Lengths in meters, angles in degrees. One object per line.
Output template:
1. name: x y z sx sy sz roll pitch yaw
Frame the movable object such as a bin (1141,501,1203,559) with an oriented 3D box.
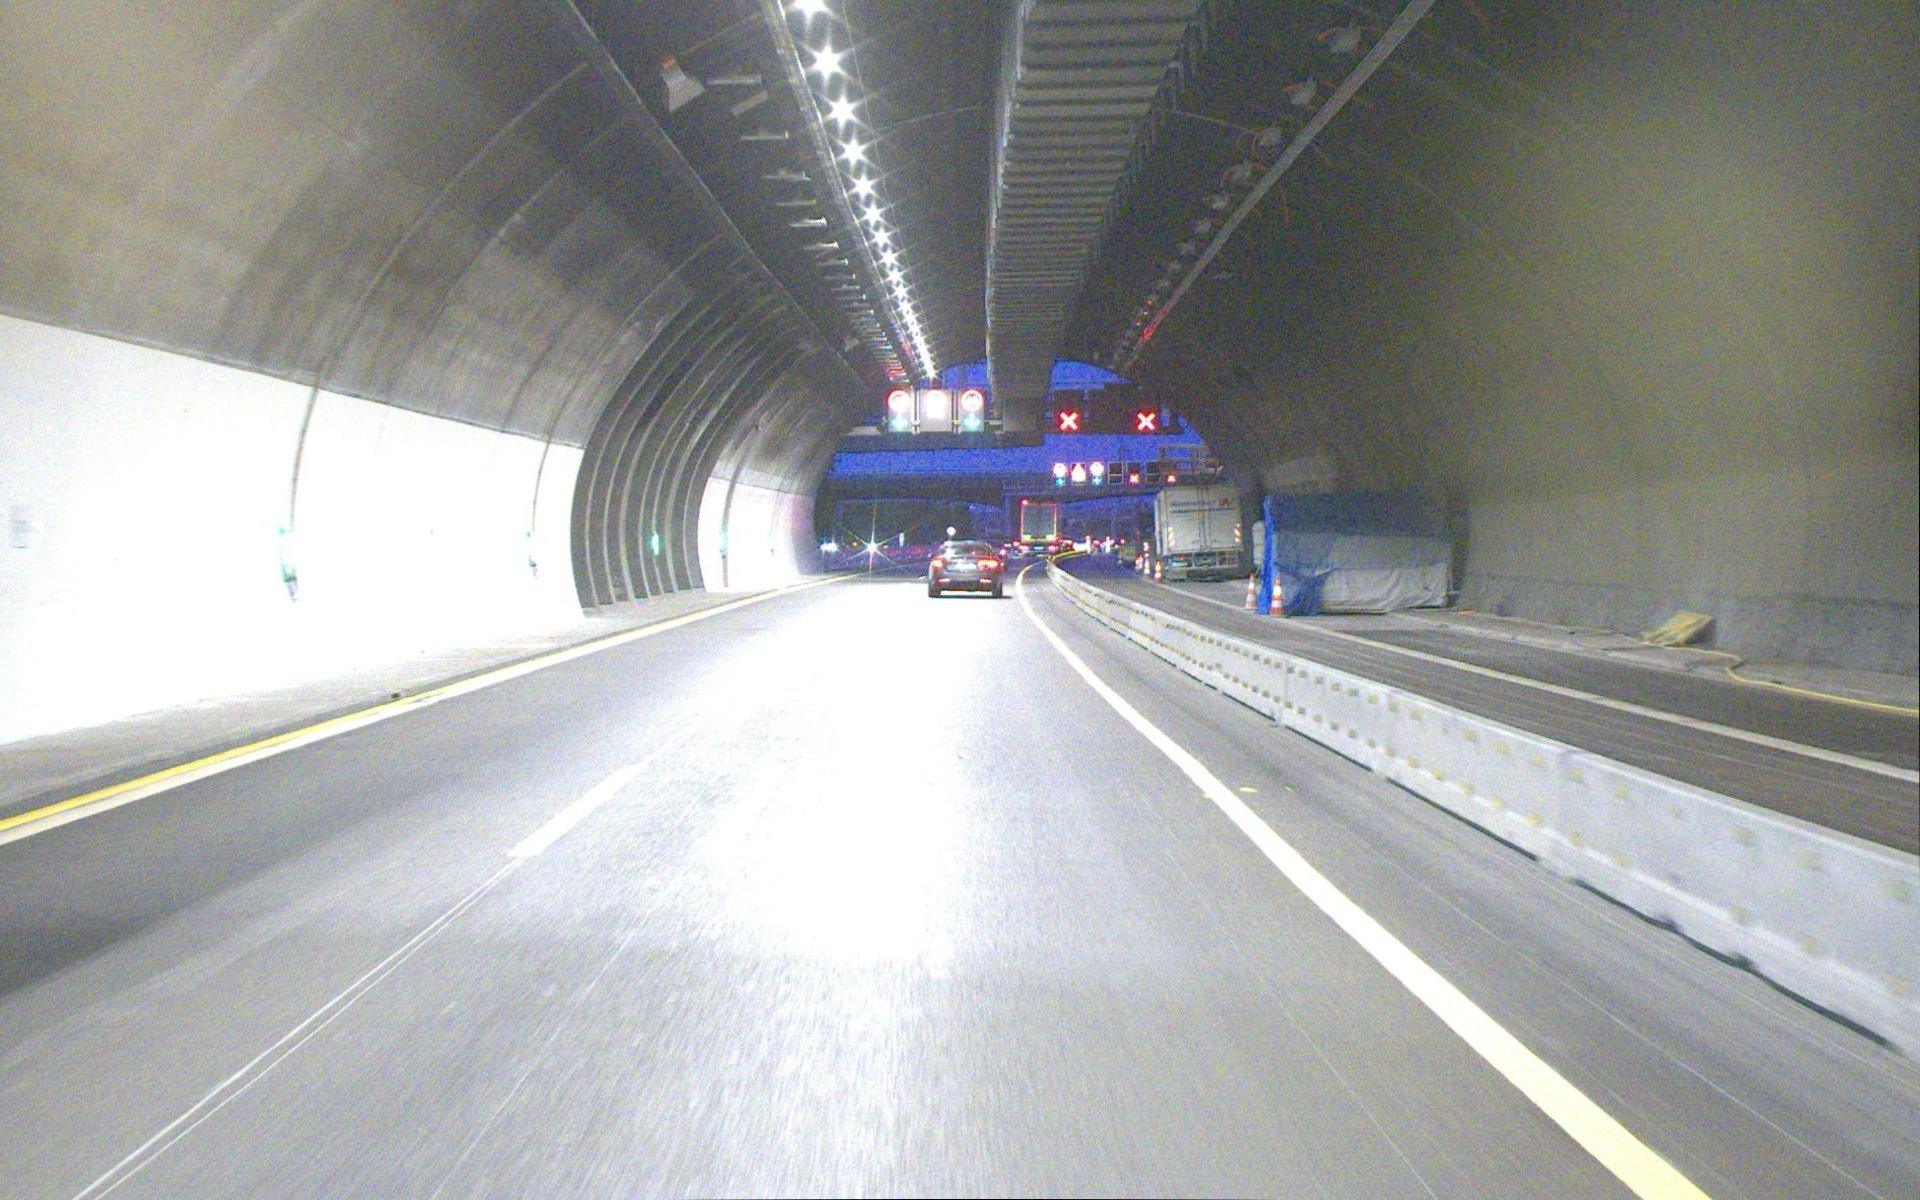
1. movable object such as a bin: 10.144 -3.342 165.028 2.737 2.744 7.049 0 1 2

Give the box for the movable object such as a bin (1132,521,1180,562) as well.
1. movable object such as a bin: 8.680 -2.584 152.374 1.978 1.809 3.836 0 1 1

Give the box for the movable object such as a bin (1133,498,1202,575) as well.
1. movable object such as a bin: 7.694 -2.345 128.210 2.238 2.784 7.233 0 1 1

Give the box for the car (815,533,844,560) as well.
1. car: -9.887 -4.053 260.161 1.993 2.007 4.000 0 1 1

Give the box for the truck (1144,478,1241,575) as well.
1. truck: 8.023 -2.522 119.349 2.892 3.261 8.401 0 1 1

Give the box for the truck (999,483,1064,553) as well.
1. truck: 5.218 -5.888 248.839 4.546 4.970 9.599 0 1 2

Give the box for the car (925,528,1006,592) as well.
1. car: 0.115 -1.024 87.593 1.887 1.601 4.000 0 1 -2
